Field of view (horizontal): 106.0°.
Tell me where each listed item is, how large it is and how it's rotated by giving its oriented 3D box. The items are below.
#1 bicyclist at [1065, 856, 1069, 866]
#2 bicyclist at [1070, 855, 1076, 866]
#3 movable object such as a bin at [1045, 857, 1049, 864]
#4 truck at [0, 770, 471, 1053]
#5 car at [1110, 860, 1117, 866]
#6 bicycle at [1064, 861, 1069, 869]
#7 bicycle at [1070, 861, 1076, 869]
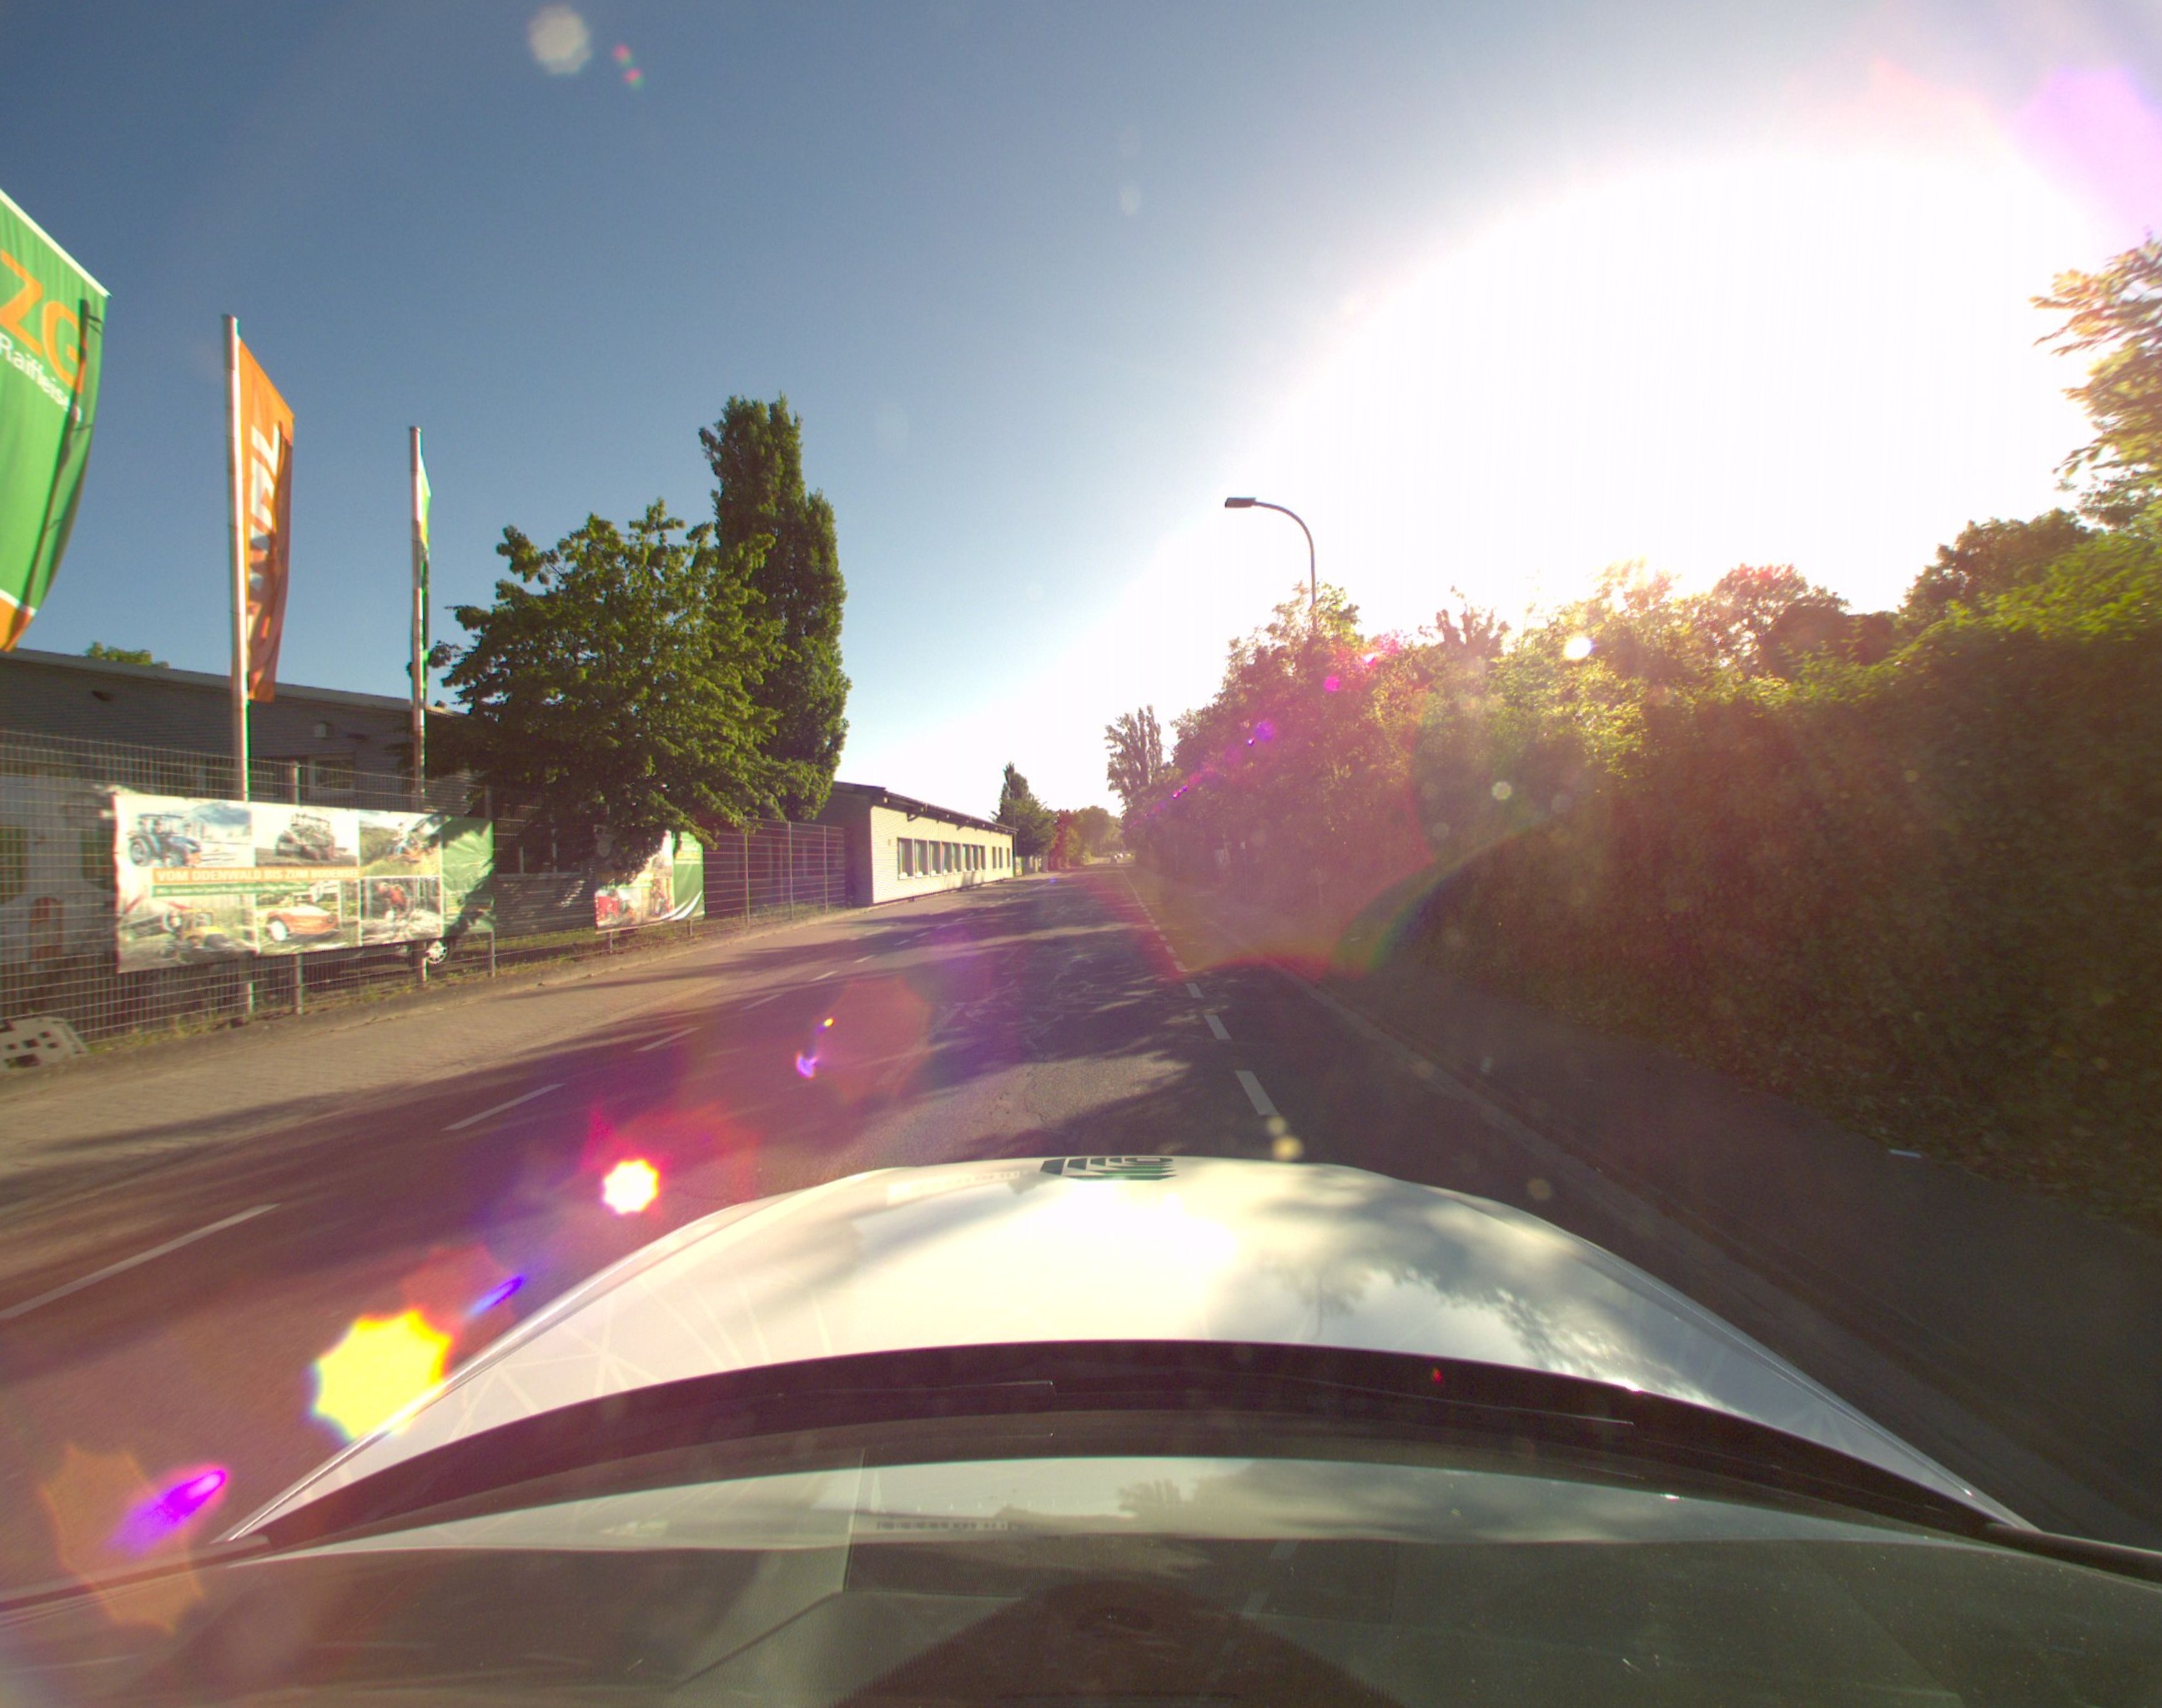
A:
[{"bbox_3d":[-2.074,1.020,117.550,0.558,1.534,0.690,0,0,2],"label":"bicyclist"},{"bbox_3d":[-1.146,0.904,117.191,0.686,1.532,0.723,0,0,2],"label":"bicyclist"},{"bbox_3d":[-5.531,1.024,132.711,0.461,1.076,1.571,-2,0,2],"label":"movable object such as a bin"},{"bbox_3d":[-11.453,0.573,10.841,2.070,2.761,5.768,-2,0,2],"label":"truck"},{"bbox_3d":[9.043,2.435,227.051,1.934,1.651,4.312,0,0,2],"label":"car"},{"bbox_3d":[-2.074,1.578,117.629,0.560,1.034,1.352,0,0,2],"label":"bicycle"},{"bbox_3d":[-1.139,1.580,117.210,0.686,1.034,1.352,0,0,2],"label":"bicycle"}]
